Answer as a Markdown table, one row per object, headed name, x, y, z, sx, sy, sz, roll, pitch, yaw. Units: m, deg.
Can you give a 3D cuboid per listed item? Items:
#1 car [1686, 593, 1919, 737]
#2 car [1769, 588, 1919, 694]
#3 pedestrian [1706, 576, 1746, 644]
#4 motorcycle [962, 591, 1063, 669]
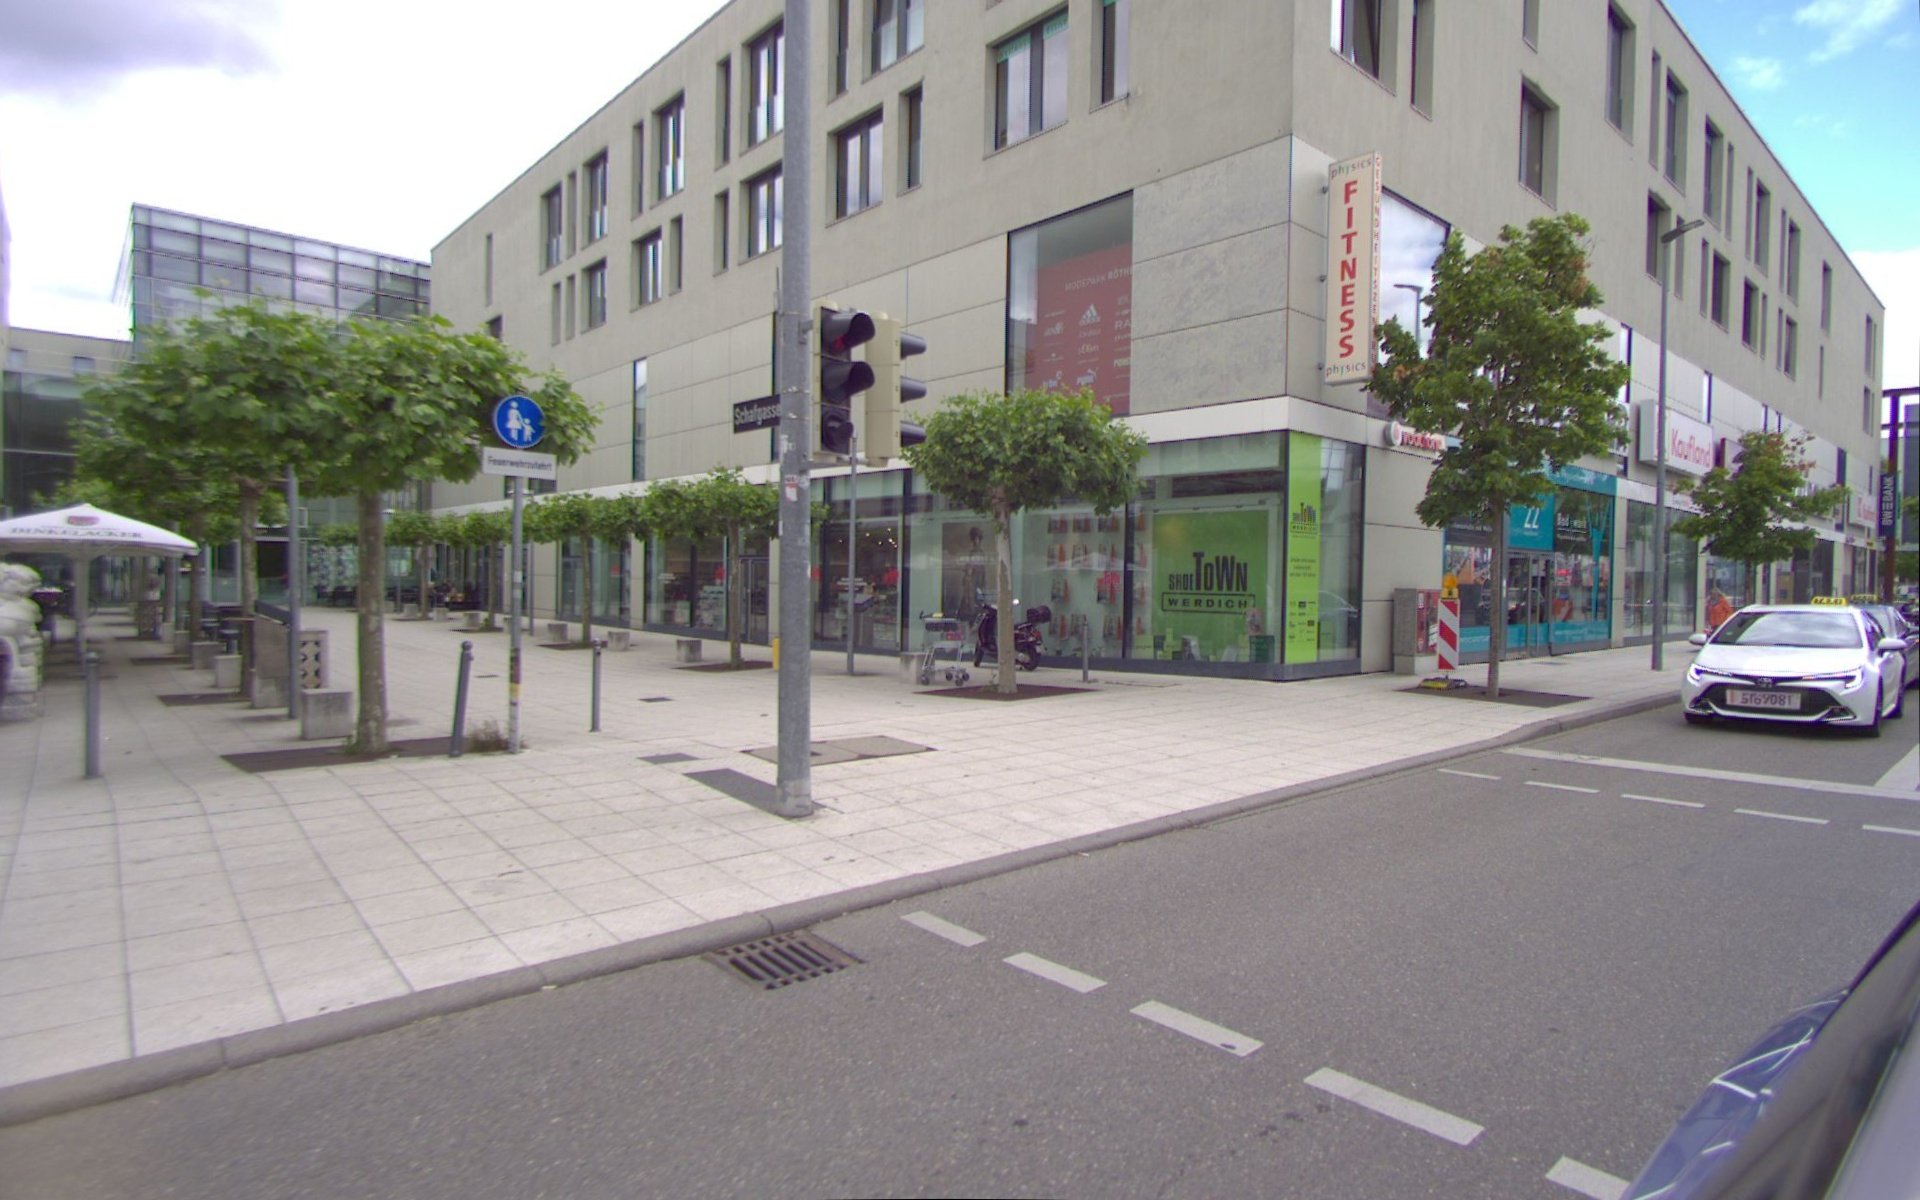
| name | x | y | z | sx | sy | sz | roll | pitch | yaw |
| --- | --- | --- | --- | --- | --- | --- | --- | --- | --- |
| car | 10.562 | 0.647 | 12.441 | 4.438 | 1.443 | 1.785 | 0 | 1 | -42 |
| car | 15.275 | 0.594 | 17.084 | 4.707 | 1.561 | 1.739 | 0 | 0 | -42 |
| pedestrian | 18.627 | 0.232 | 24.605 | 0.719 | 1.586 | 0.590 | 1 | 2 | -41 |
| motorcycle | 0.898 | 0.503 | 17.712 | 0.584 | 1.273 | 1.841 | -3 | 2 | -43 |
